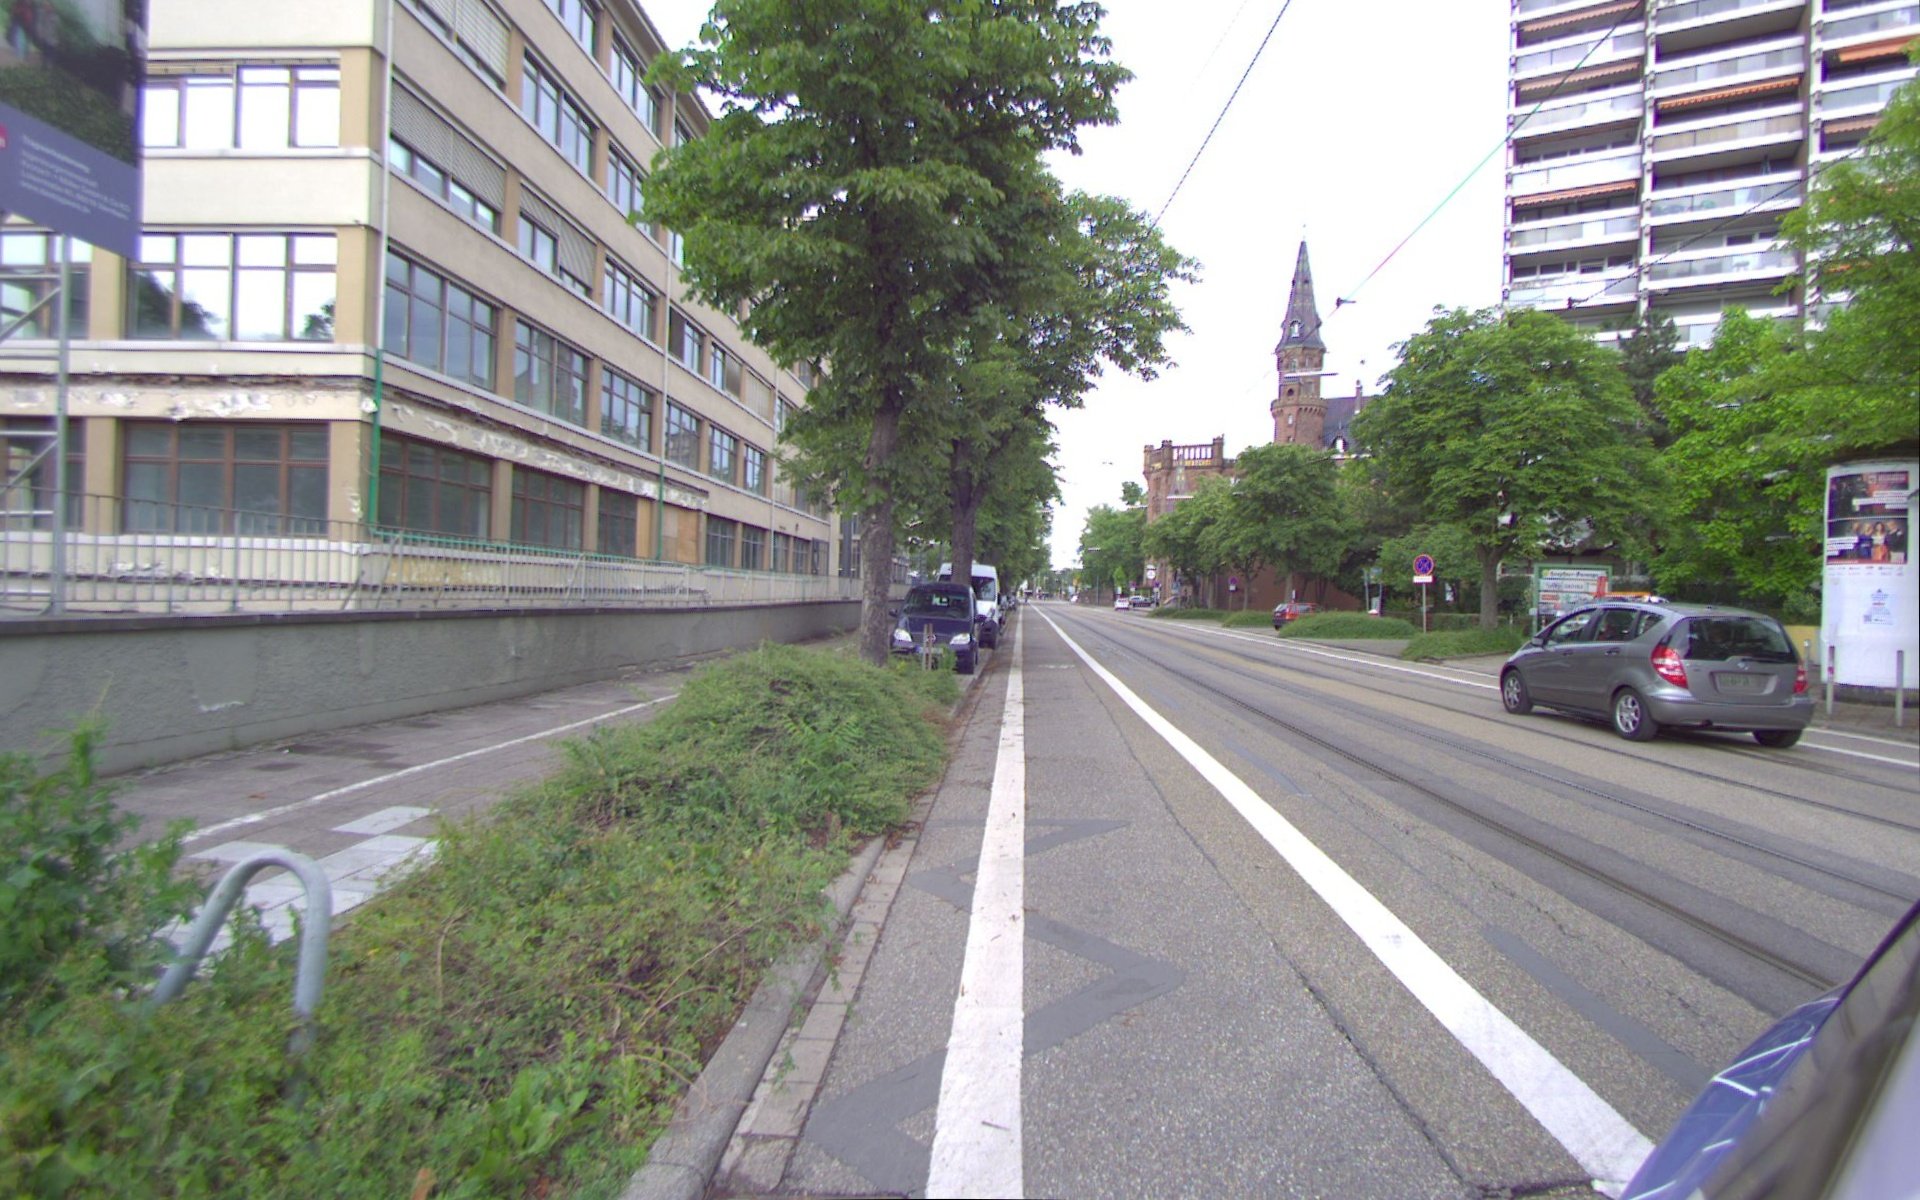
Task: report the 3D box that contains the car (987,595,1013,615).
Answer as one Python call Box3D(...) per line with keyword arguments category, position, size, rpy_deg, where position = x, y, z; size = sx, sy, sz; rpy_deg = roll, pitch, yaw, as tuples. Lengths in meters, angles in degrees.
Box3D(category="car", position=(3.133, 0.352, 78.803), size=(1.964, 1.479, 4.389), rpy_deg=(1, 0, 3))

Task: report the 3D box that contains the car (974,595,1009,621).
Box3D(category="car", position=(1.951, 0.461, 61.464), size=(1.964, 1.479, 4.389), rpy_deg=(1, 0, 3))

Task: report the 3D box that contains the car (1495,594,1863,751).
Box3D(category="car", position=(8.394, 0.731, 12.314), size=(1.872, 1.549, 3.751), rpy_deg=(2, 0, 3))

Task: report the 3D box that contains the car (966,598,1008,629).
Box3D(category="car", position=(1.397, 0.648, 50.656), size=(1.964, 1.479, 4.389), rpy_deg=(1, 0, 3))

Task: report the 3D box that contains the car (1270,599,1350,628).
Box3D(category="car", position=(17.721, 0.695, 51.338), size=(3.431, 1.394, 1.637), rpy_deg=(1, 1, -9))

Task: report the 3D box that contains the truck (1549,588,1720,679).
Box3D(category="truck", position=(15.558, 0.694, 23.236), size=(4.975, 1.872, 1.997), rpy_deg=(1, 0, -41))

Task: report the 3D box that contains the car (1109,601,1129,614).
Box3D(category="car", position=(19.574, 0.883, 124.448), size=(1.964, 1.549, 3.996), rpy_deg=(1, 0, 3))

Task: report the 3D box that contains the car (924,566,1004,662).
Box3D(category="car", position=(0.225, 0.366, 30.854), size=(2.081, 2.635, 5.486), rpy_deg=(1, 0, 4))

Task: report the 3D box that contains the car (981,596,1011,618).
Box3D(category="car", position=(2.554, 0.467, 70.784), size=(1.964, 1.479, 4.389), rpy_deg=(1, 0, 3))

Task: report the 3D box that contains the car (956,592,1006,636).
Box3D(category="car", position=(0.800, 0.516, 39.872), size=(1.792, 1.519, 4.106), rpy_deg=(3, 1, 0))

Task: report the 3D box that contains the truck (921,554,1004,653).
Box3D(category="truck", position=(0.180, 0.093, 30.965), size=(2.081, 2.635, 5.486), rpy_deg=(-3, 0, 4))

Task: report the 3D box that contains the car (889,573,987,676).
Box3D(category="car", position=(-0.363, 0.428, 21.005), size=(1.629, 1.835, 4.081), rpy_deg=(4, 1, 3))
